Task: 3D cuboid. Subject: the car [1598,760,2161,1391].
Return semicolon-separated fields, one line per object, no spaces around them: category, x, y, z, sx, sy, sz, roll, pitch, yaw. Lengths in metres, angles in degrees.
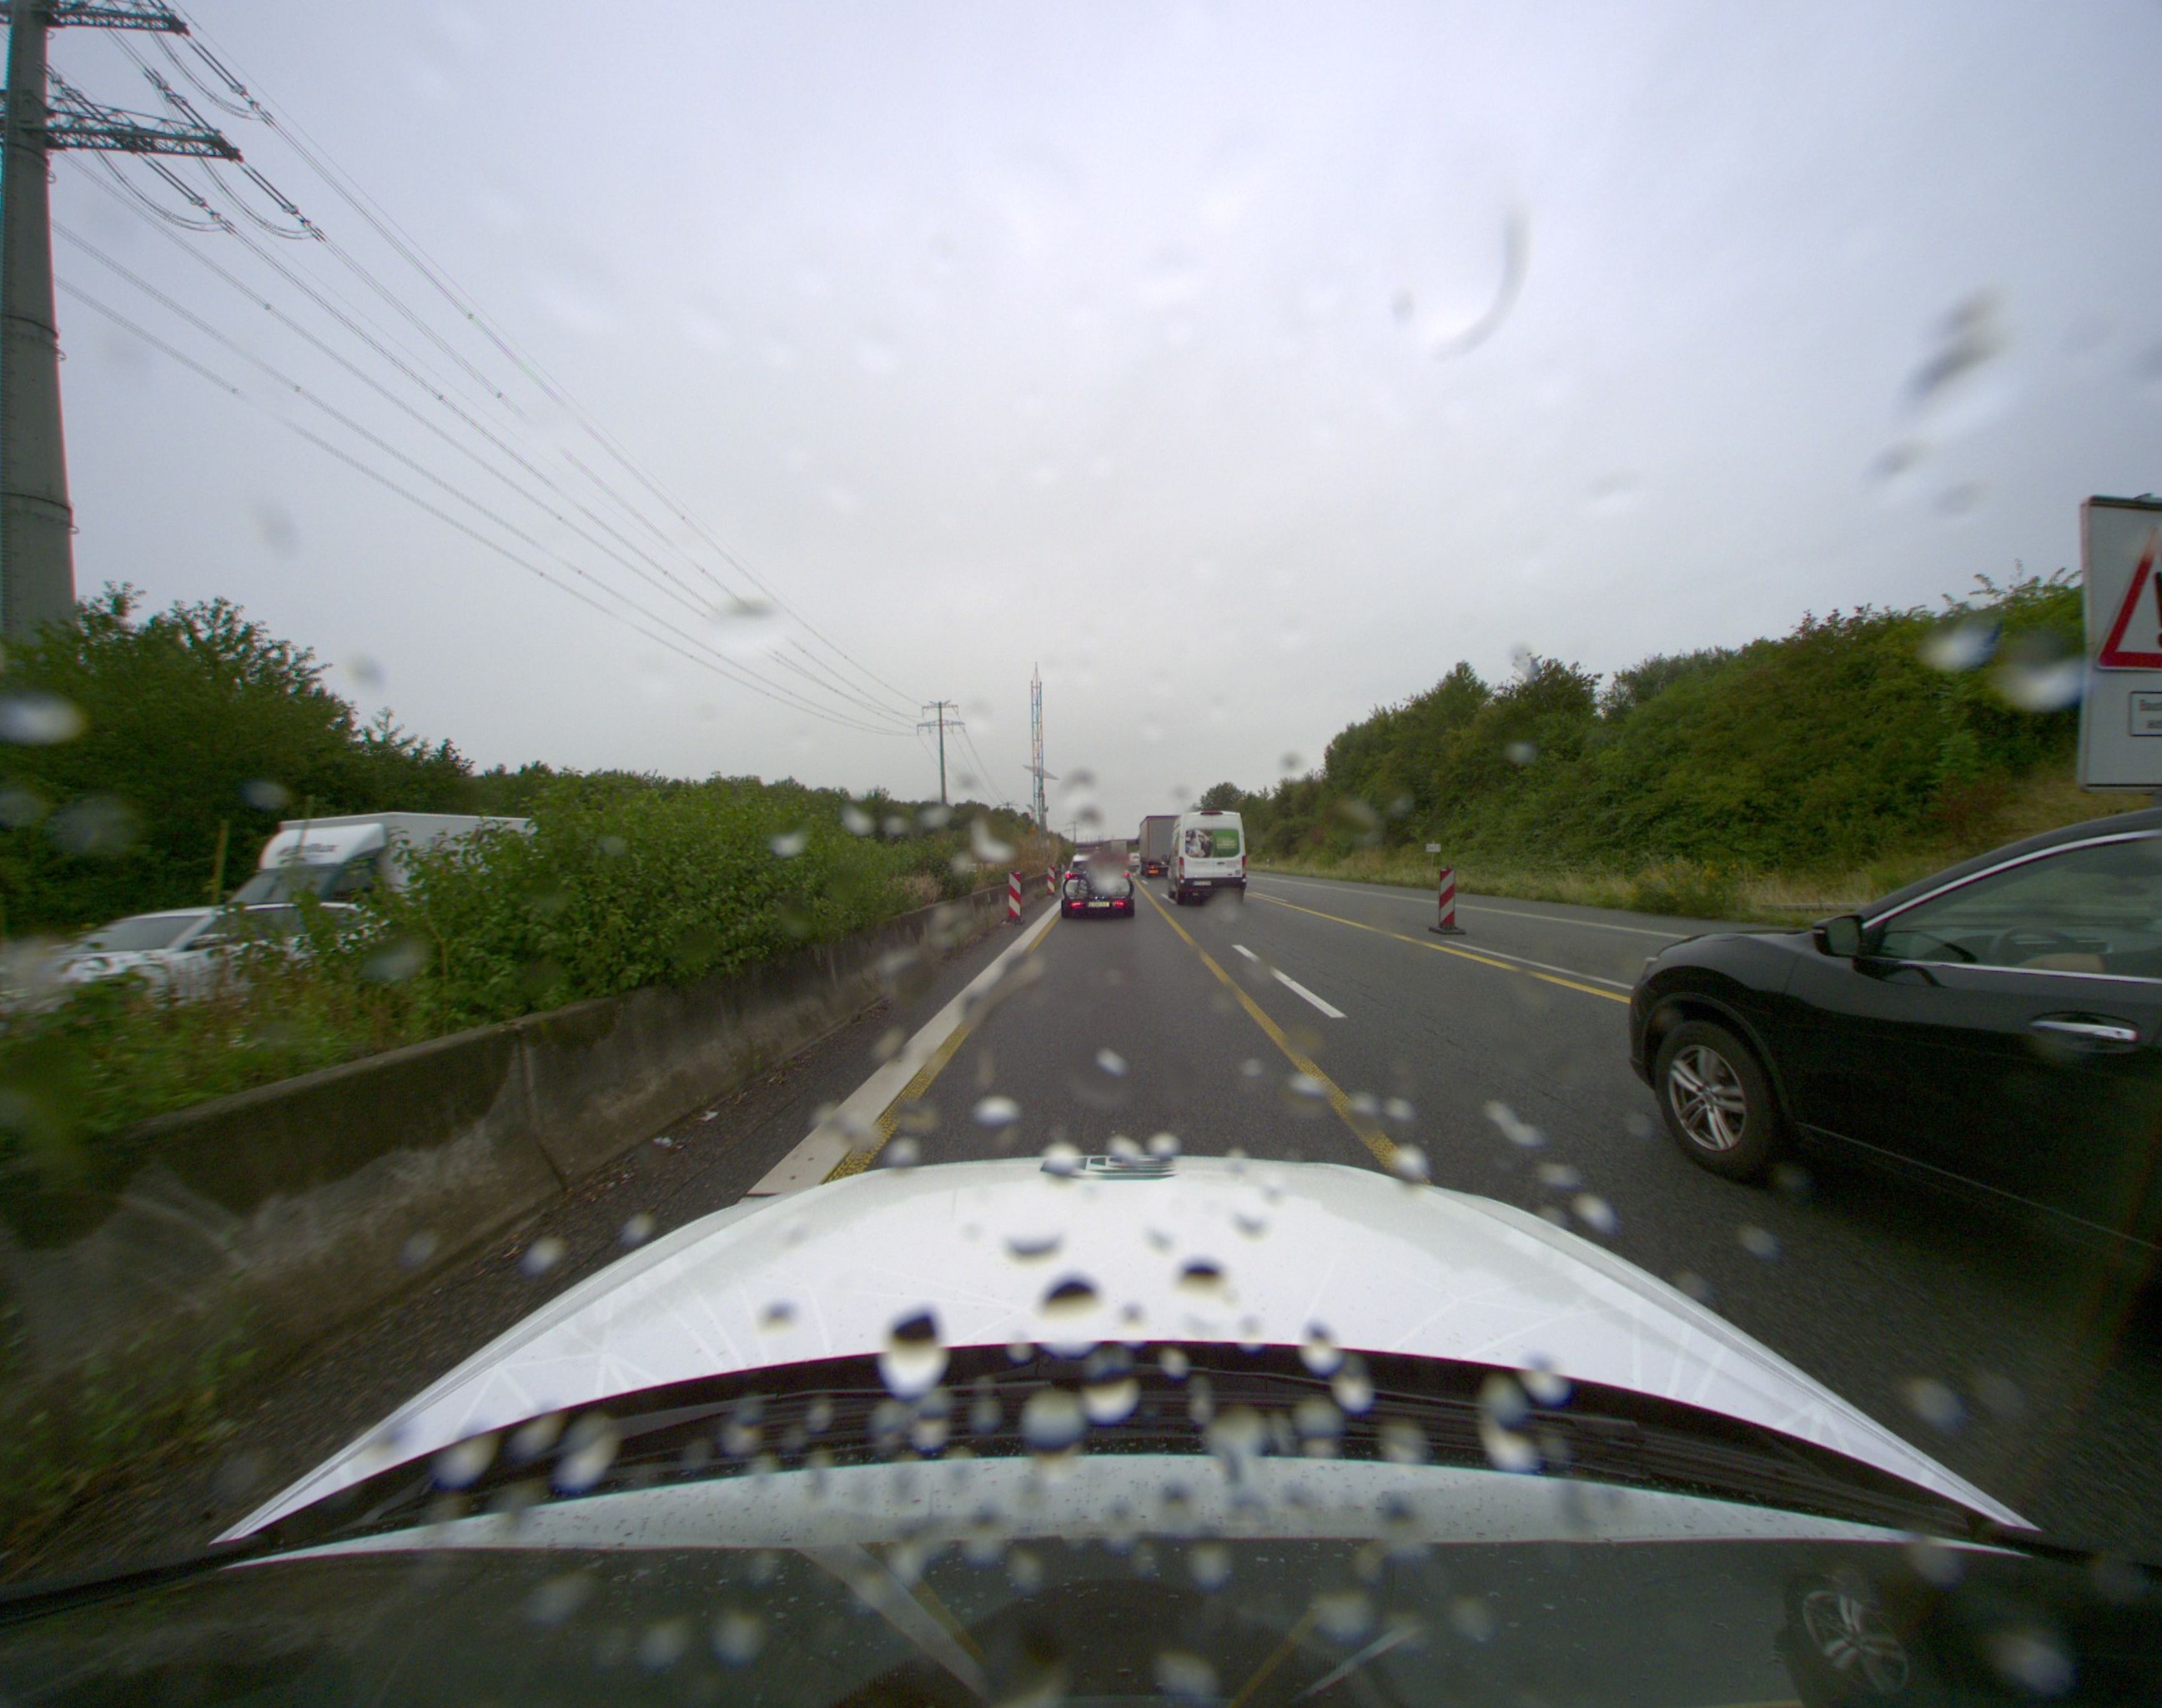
car;3.668;0.567;2.310;1.679;1.658;4.280;-1;0;0

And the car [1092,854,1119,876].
car;1.819;0.794;60.463;1.843;1.531;4.001;-1;0;1

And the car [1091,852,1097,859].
car;4.112;0.528;257.484;1.924;1.973;4.002;-1;1;1

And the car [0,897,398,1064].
car;-11.109;1.357;10.067;1.711;1.456;4.162;-1;-1;2

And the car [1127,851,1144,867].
car;6.466;0.633;97.277;1.822;1.839;4.657;-1;0;1

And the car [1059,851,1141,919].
car;0.497;0.716;20.972;1.843;1.531;4.770;-1;0;1

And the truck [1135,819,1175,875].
truck;5.761;-0.508;64.341;2.696;4.138;5.692;-1;0;1

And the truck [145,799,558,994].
truck;-15.050;0.765;17.783;2.252;3.227;7.055;-5;-1;2

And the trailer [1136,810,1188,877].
trailer;5.491;-0.630;57.580;2.696;4.146;13.738;-1;0;2

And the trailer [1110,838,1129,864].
trailer;6.298;-0.471;134.200;2.683;4.076;13.637;-1;0;2

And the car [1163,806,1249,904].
car;3.895;0.031;26.402;1.986;2.783;5.758;-2;0;2

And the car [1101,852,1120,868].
car;3.039;0.590;83.567;1.843;1.531;4.001;-1;0;1
